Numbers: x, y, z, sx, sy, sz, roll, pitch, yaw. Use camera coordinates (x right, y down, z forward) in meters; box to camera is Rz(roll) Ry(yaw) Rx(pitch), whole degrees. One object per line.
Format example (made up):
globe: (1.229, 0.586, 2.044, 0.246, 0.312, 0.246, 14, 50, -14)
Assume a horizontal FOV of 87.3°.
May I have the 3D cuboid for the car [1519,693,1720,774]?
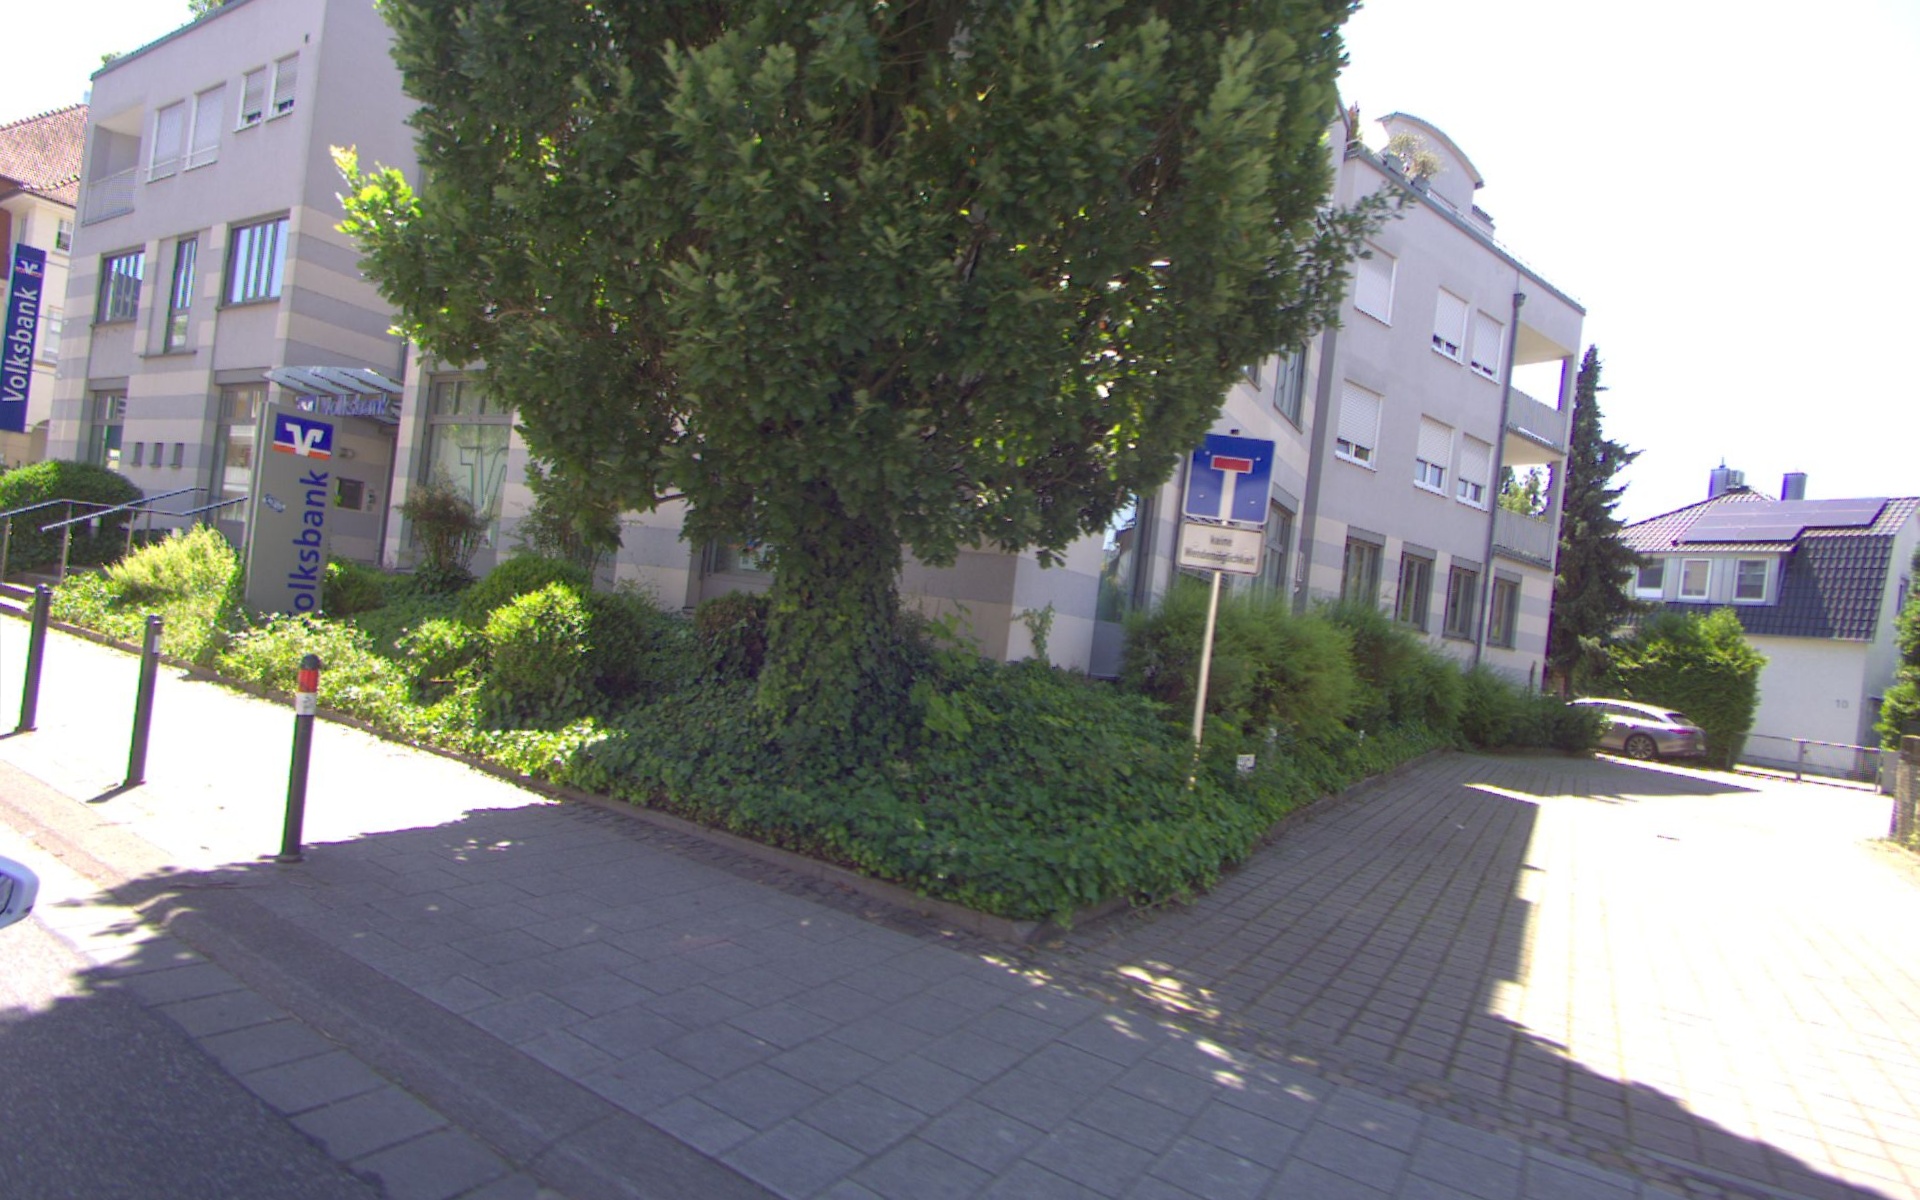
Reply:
car: (17.334, 3.477, 26.570, 1.898, 1.446, 3.959, 10, -4, -38)
